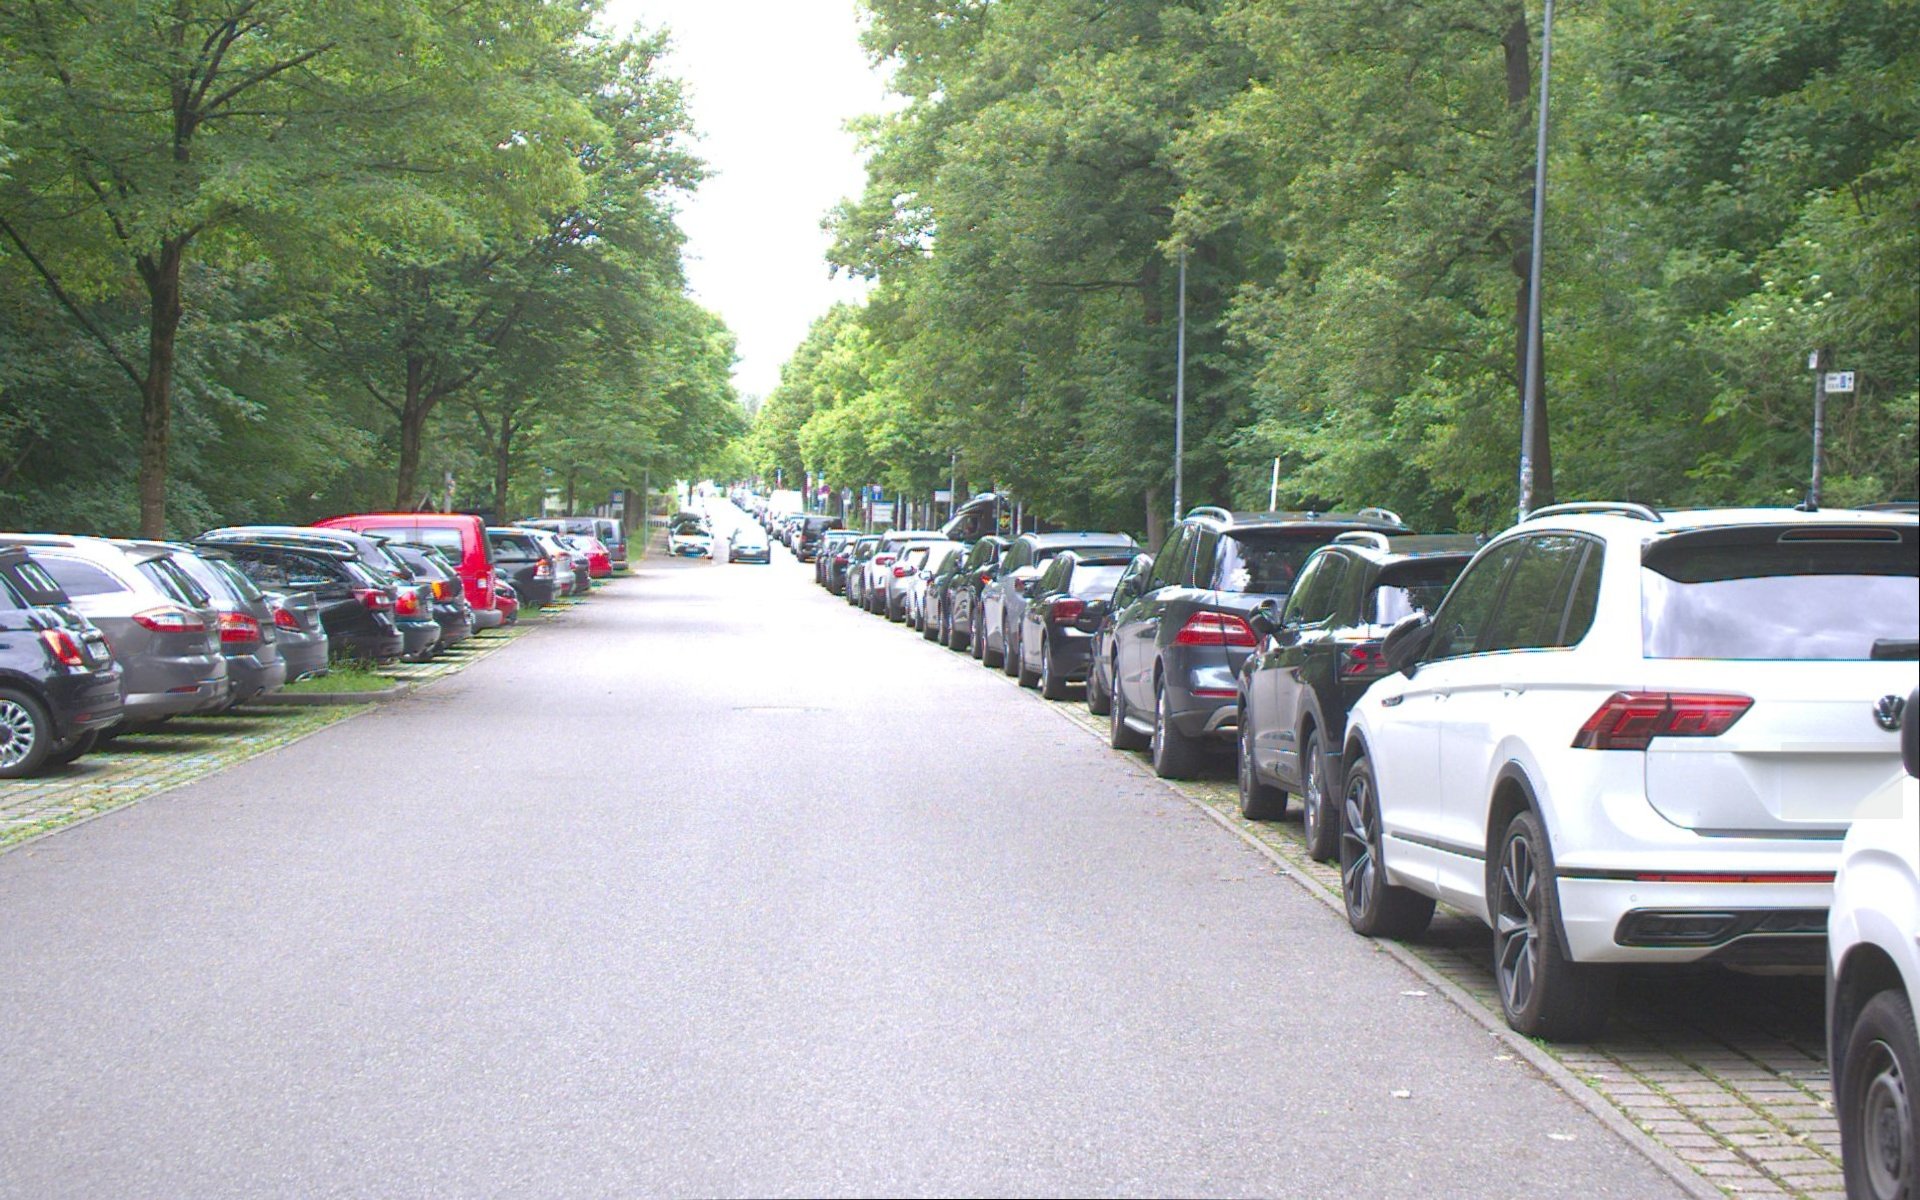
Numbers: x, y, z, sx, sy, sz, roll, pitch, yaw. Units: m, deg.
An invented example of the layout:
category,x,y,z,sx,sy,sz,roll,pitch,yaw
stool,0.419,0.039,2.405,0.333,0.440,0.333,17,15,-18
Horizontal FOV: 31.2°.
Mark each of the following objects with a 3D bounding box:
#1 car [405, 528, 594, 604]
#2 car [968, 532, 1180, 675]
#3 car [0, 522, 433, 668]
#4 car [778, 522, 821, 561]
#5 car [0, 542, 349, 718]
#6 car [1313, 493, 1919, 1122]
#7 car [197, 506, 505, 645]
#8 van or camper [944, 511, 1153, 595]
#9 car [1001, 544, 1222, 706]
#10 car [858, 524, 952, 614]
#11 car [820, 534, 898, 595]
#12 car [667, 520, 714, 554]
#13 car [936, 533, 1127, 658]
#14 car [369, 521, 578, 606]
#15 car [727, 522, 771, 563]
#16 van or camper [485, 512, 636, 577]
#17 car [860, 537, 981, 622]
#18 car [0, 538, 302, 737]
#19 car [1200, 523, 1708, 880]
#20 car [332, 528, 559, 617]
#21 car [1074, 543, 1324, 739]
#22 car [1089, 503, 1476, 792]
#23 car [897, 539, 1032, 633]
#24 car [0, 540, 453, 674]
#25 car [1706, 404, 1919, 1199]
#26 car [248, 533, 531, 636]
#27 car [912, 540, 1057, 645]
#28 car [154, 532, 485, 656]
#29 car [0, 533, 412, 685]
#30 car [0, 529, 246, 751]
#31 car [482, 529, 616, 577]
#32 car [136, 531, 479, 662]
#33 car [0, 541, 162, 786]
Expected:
category,x,y,z,sx,sy,sz,roll,pitch,yaw
car,-10.221,-0.763,76.487,3.986,1.634,2.009,1,1,-2
car,1.260,-0.004,40.088,1.978,1.532,4.622,1,1,-4
car,-8.533,-0.074,39.520,4.731,1.590,1.960,1,1,-4
car,-6.713,-2.444,143.552,1.628,1.410,3.412,2,4,-4
car,-7.469,0.229,29.530,4.109,1.426,1.964,1,1,-1
car,2.489,0.511,11.493,1.785,1.657,4.718,1,1,-4
car,-8.270,-0.346,46.990,3.986,1.810,2.115,1,1,-6
van or camper,3.328,-1.787,129.505,7.321,2.879,2.651,1,4,-18
car,1.444,0.204,34.239,1.636,1.472,4.152,1,1,-5
car,-1.142,-0.654,69.277,1.710,1.722,4.001,1,1,-3
car,-2.629,-0.936,88.763,1.921,1.515,3.887,1,1,-2
car,-11.024,-2.588,140.761,1.739,1.158,3.411,2,4,-2
car,0.898,-0.094,45.715,1.978,1.532,4.167,1,1,-7
car,-9.746,-0.732,69.061,3.986,1.634,1.735,1,1,-2
car,-8.485,-2.322,137.965,1.690,1.410,3.154,2,4,-4
van or camper,-12.772,-1.775,109.948,4.472,1.861,1.920,1,4,-18
car,-0.758,-0.397,63.588,1.721,1.489,3.775,1,1,-9
car,-7.345,0.256,26.834,4.109,1.475,1.997,1,1,-4
car,2.411,0.417,17.914,1.751,1.602,4.447,1,1,-3
car,-9.202,-0.501,61.667,3.832,1.531,1.871,1,1,-2
car,1.959,0.291,29.215,1.598,1.499,4.091,1,1,-3
car,2.071,0.240,23.518,1.889,1.741,4.949,1,1,-3
car,0.038,-0.262,57.916,1.936,1.470,3.993,1,1,-5
car,-7.903,0.062,36.844,4.731,1.338,1.988,1,1,-4
car,2.766,0.542,5.849,1.744,1.774,4.553,1,1,-3
car,-8.551,-0.246,51.834,3.986,1.469,2.115,1,1,-3
car,0.322,-0.134,50.759,1.666,1.439,3.815,1,1,-6
car,-8.227,-0.094,44.446,3.986,1.525,2.000,1,1,-4
car,-7.696,0.078,34.500,4.294,1.444,1.757,1,1,-8
car,-7.294,0.249,24.564,4.088,1.518,1.930,1,1,-5
car,-11.862,-1.359,99.158,3.576,1.356,1.829,0,1,-15
car,-7.915,-0.057,42.012,3.986,1.525,2.001,1,1,-7
car,-7.547,0.337,22.093,4.400,1.483,1.837,1,1,-1
